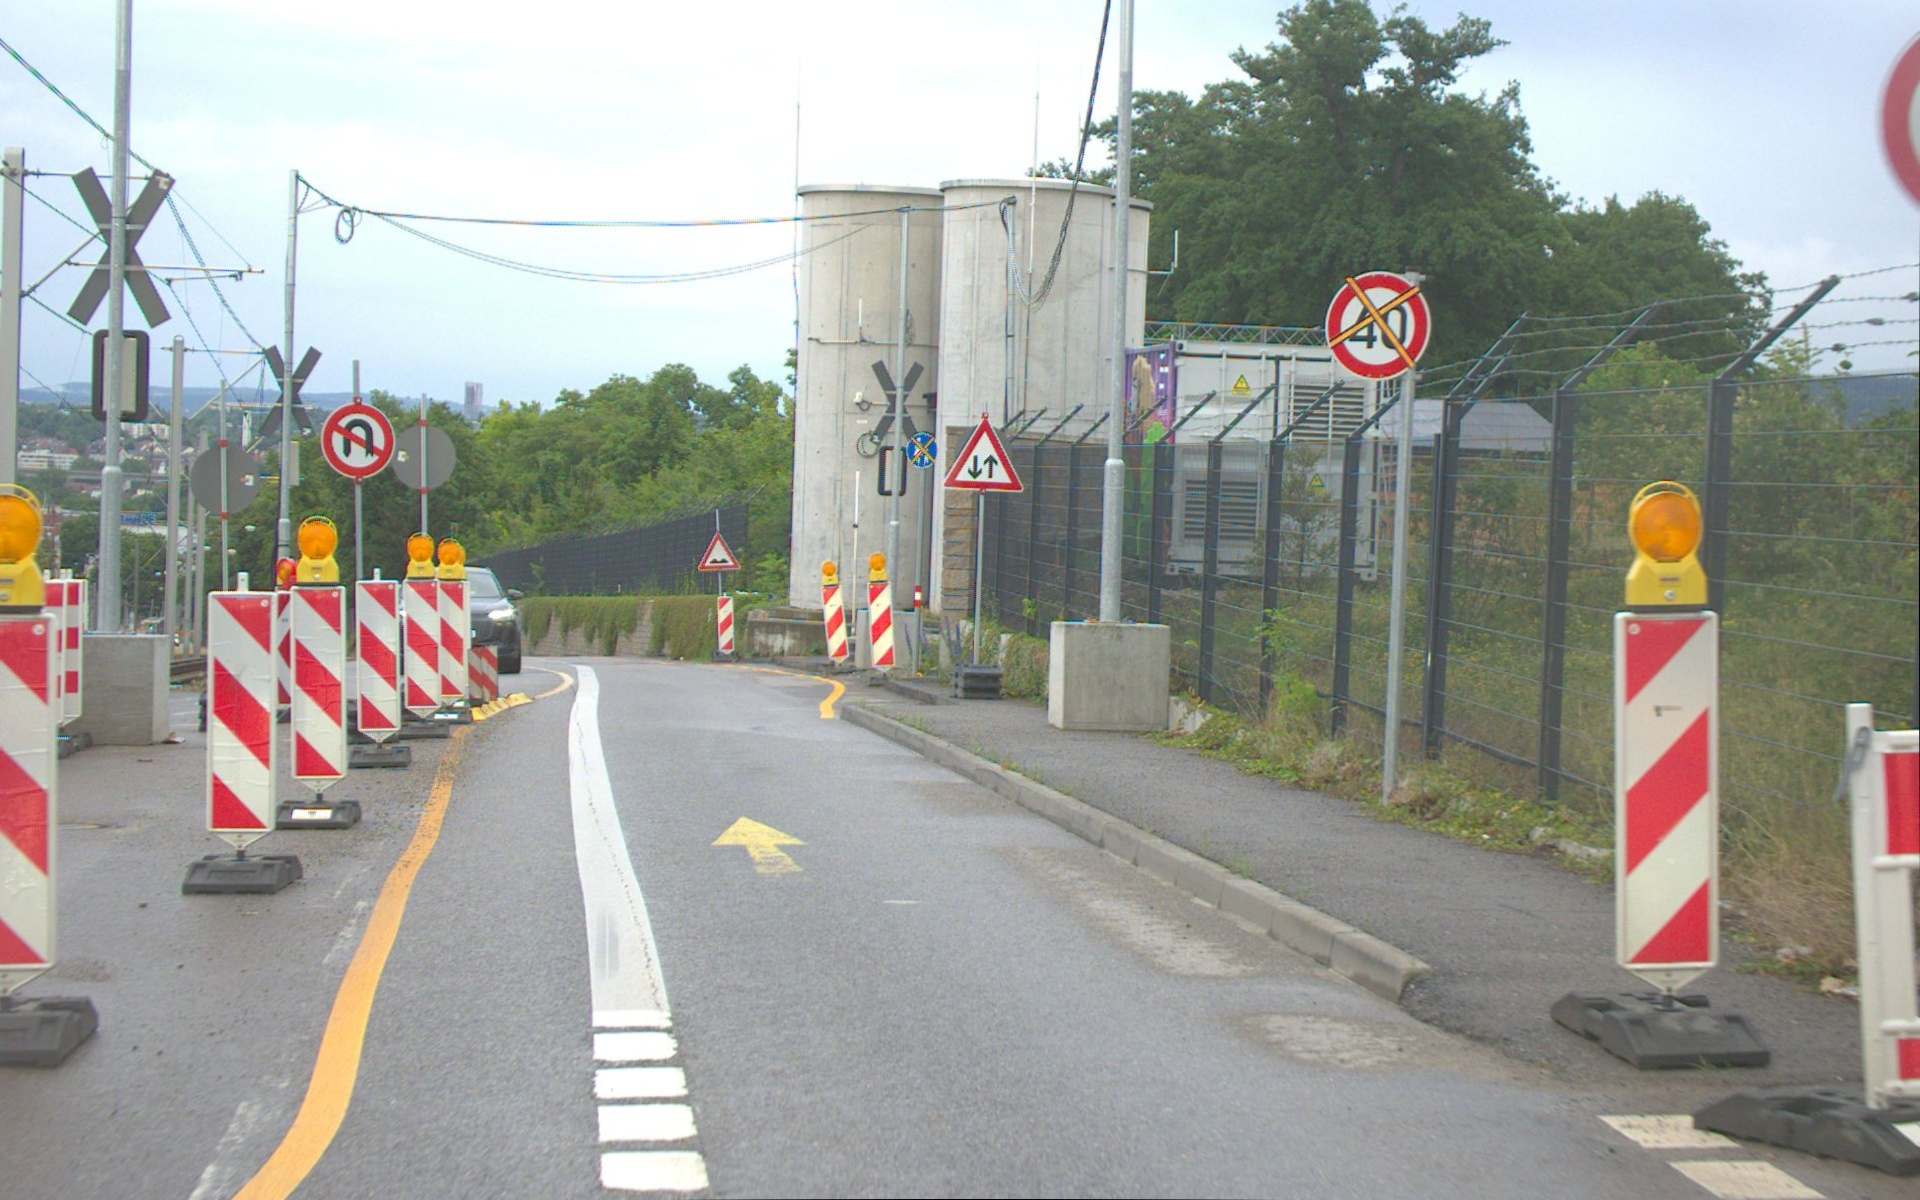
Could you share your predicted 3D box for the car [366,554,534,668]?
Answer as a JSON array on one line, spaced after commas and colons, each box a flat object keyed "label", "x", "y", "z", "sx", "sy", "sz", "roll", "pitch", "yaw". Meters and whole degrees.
[{"label": "car", "x": -7.981, "y": 0.151, "z": 53.493, "sx": 1.993, "sy": 1.672, "sz": 4.490, "roll": 1, "pitch": 0, "yaw": -16}]
